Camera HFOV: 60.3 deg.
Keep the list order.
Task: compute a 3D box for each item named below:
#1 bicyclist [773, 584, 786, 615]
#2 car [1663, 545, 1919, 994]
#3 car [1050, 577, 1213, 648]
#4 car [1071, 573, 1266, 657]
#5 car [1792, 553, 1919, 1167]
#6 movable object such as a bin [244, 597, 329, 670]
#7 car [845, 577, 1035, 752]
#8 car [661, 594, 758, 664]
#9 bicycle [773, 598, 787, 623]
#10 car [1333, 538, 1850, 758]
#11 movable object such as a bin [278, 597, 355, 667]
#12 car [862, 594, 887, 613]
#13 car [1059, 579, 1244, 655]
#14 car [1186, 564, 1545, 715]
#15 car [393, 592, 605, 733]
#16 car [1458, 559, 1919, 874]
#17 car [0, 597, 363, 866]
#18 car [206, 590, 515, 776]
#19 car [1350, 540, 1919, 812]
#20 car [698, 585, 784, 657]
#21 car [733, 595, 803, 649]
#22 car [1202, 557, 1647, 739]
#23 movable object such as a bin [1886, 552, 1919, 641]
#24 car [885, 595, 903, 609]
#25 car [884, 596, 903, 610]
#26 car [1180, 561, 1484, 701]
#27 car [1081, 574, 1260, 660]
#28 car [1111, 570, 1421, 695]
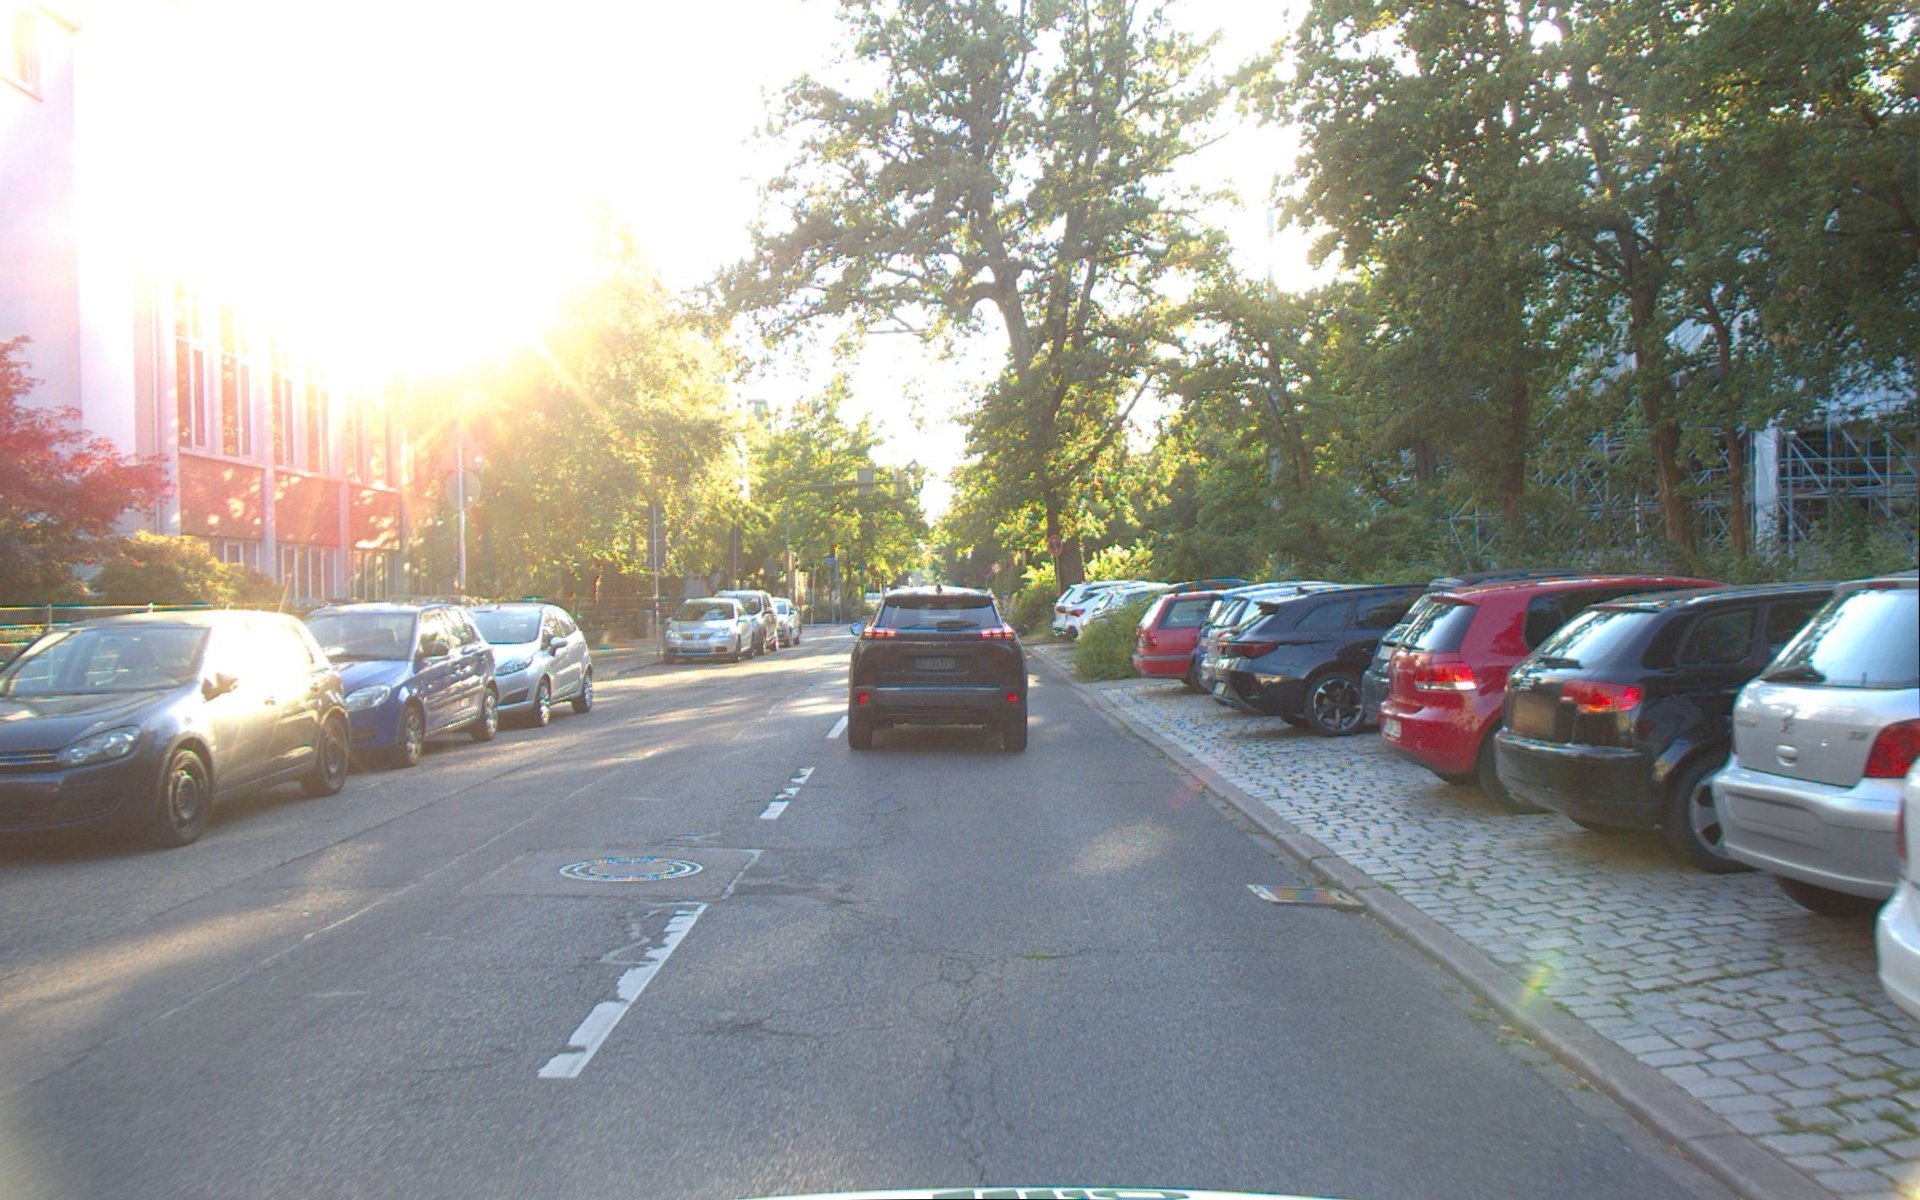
[{"bbox_3d":[-9.538,-0.022,87.618,0.662,1.631,0.705,-1,0,-6],"label":"bicyclist"},{"bbox_3d":[5.066,0.452,6.610,3.650,1.524,1.820,-5,0,0],"label":"car"},{"bbox_3d":[4.398,0.315,42.826,4.083,1.740,1.868,-1,0,3],"label":"car"},{"bbox_3d":[4.140,0.292,33.190,3.669,1.622,1.696,0,0,-3],"label":"car"},{"bbox_3d":[4.248,0.548,3.937,3.594,1.579,1.734,-5,1,-3],"label":"car"},{"bbox_3d":[-14.035,0.679,34.510,1.076,1.455,1.486,-1,0,3],"label":"movable object such as a bin"},{"bbox_3d":[-0.240,0.587,16.824,1.732,1.596,3.379,0,0,-2],"label":"car"},{"bbox_3d":[-5.823,0.645,38.839,1.636,1.520,4.061,-1,0,0],"label":"car"},{"bbox_3d":[-9.540,0.558,87.689,0.673,1.271,2.189,-1,0,-7],"label":"bicycle"},{"bbox_3d":[5.381,0.396,14.466,3.730,1.500,1.831,-5,0,0],"label":"car"},{"bbox_3d":[-13.973,0.678,35.962,1.076,1.455,1.373,-1,0,3],"label":"movable object such as a bin"},{"bbox_3d":[-6.609,0.230,127.748,1.775,1.378,3.995,-2,0,-5],"label":"car"},{"bbox_3d":[4.354,0.383,38.050,4.038,1.696,1.723,0,0,-1],"label":"car"},{"bbox_3d":[4.813,0.458,20.066,3.844,1.479,1.832,-4,0,1],"label":"car"},{"bbox_3d":[-5.728,0.713,20.980,1.568,1.519,3.772,-2,1,0],"label":"car"},{"bbox_3d":[4.922,0.531,9.238,3.673,1.419,1.756,-5,0,0],"label":"car"},{"bbox_3d":[-5.689,0.777,11.587,1.566,1.480,4.054,-3,1,-2],"label":"car"},{"bbox_3d":[-5.799,0.724,16.486,1.565,1.534,3.788,-2,1,1],"label":"car"},{"bbox_3d":[4.859,0.482,11.634,3.730,1.500,1.756,-5,0,0],"label":"car"},{"bbox_3d":[-5.824,0.526,44.416,1.645,1.738,4.340,-2,1,0],"label":"car"},{"bbox_3d":[-5.863,0.638,50.809,1.645,1.482,3.882,-3,1,0],"label":"car"},{"bbox_3d":[4.681,0.467,17.118,4.036,1.500,1.832,-4,0,1],"label":"car"},{"bbox_3d":[16.252,-0.079,27.692,0.942,1.464,0.985,-2,0,2],"label":"movable object such as a bin"},{"bbox_3d":[-7.098,0.237,177.886,1.775,1.378,3.997,-2,0,-4],"label":"car"},{"bbox_3d":[-6.738,0.274,167.832,1.775,1.378,3.975,-2,0,-4],"label":"car"},{"bbox_3d":[5.020,0.405,22.633,3.640,1.582,1.740,-4,0,-5],"label":"car"},{"bbox_3d":[4.480,0.366,35.609,3.516,1.593,1.818,-3,-1,-2],"label":"car"},{"bbox_3d":[4.503,0.451,24.780,4.249,1.500,1.742,-4,1,0],"label":"car"}]
